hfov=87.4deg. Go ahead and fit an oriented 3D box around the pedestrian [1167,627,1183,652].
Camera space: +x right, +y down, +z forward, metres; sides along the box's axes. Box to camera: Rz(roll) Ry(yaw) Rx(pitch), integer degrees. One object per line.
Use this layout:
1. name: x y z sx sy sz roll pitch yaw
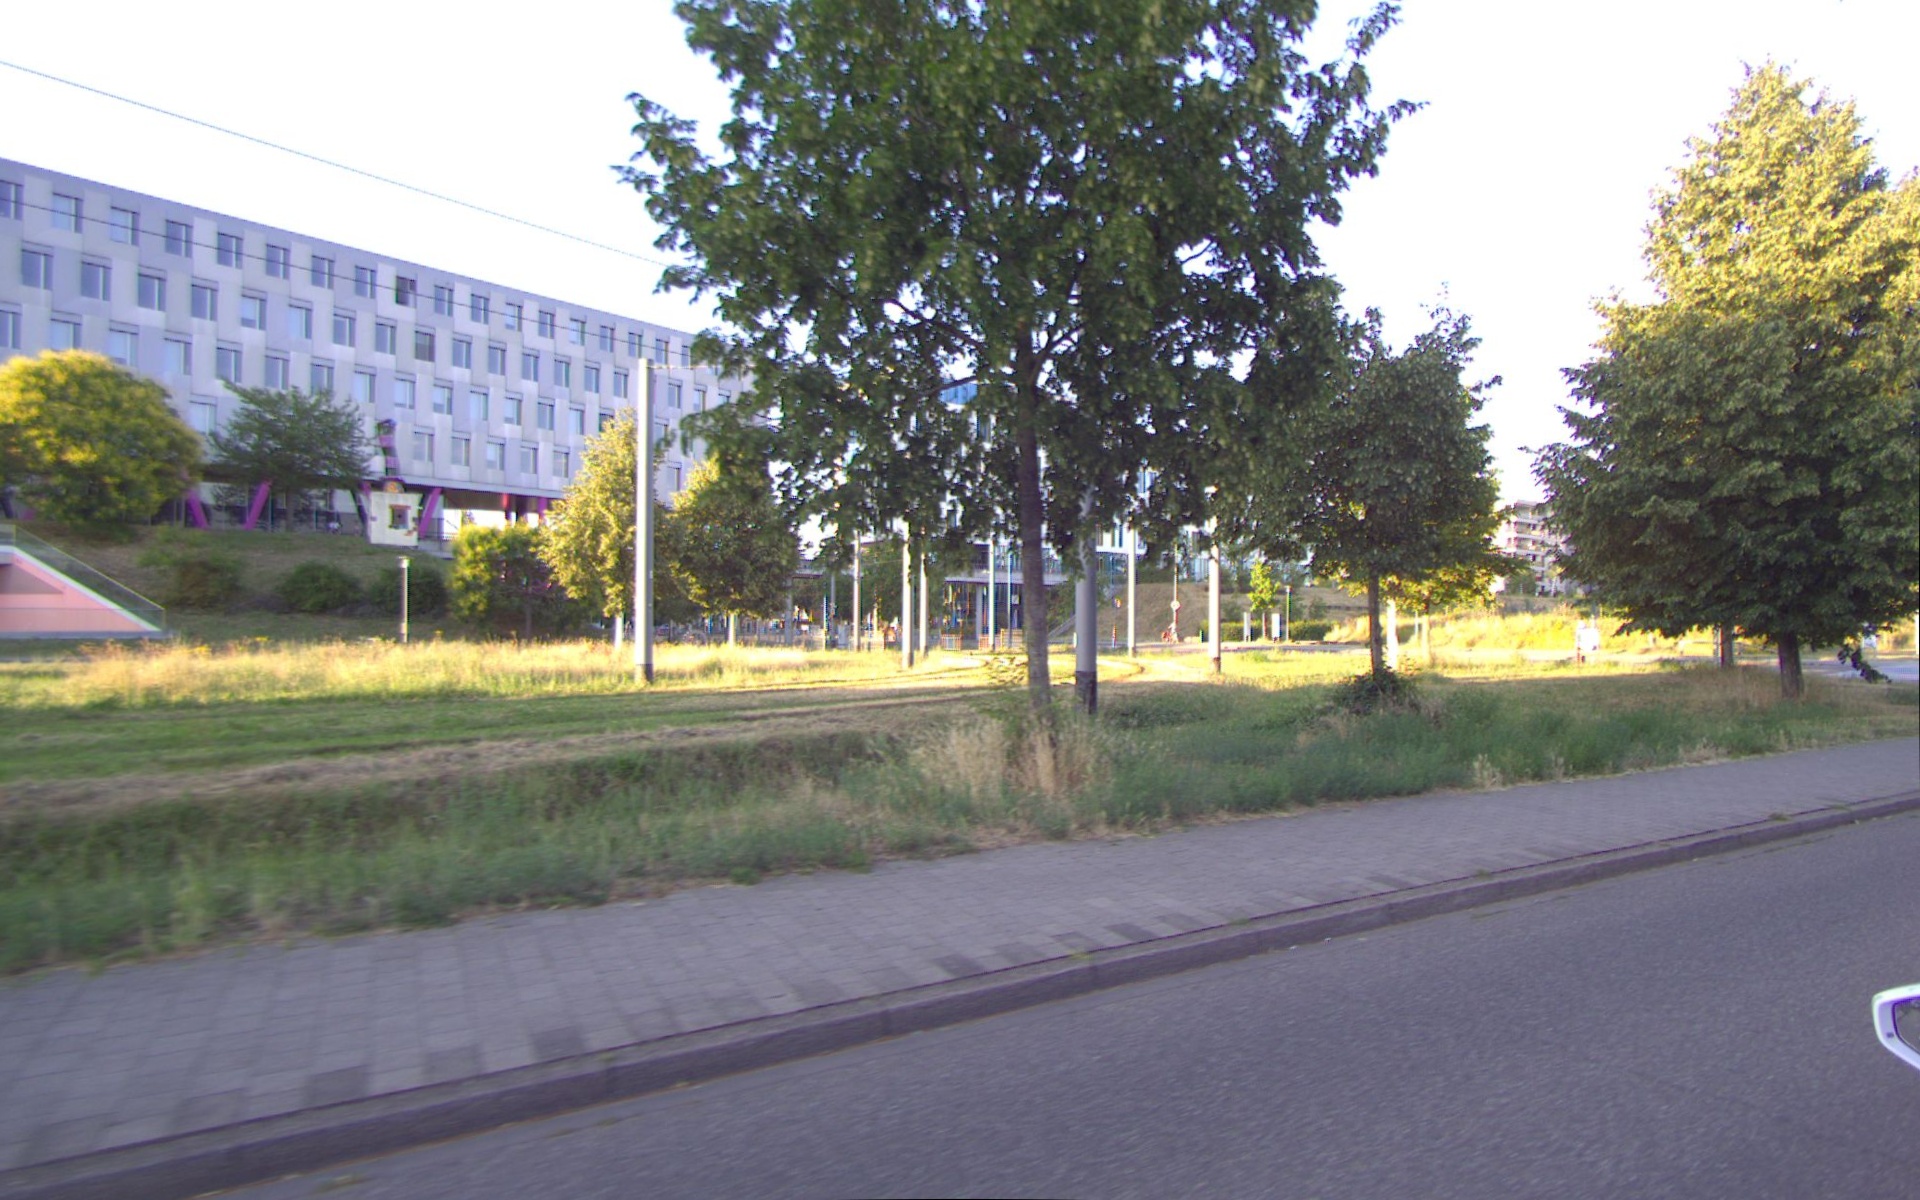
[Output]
1. pedestrian: 15.791 2.880 73.802 0.803 1.810 0.784 1 -1 -27
